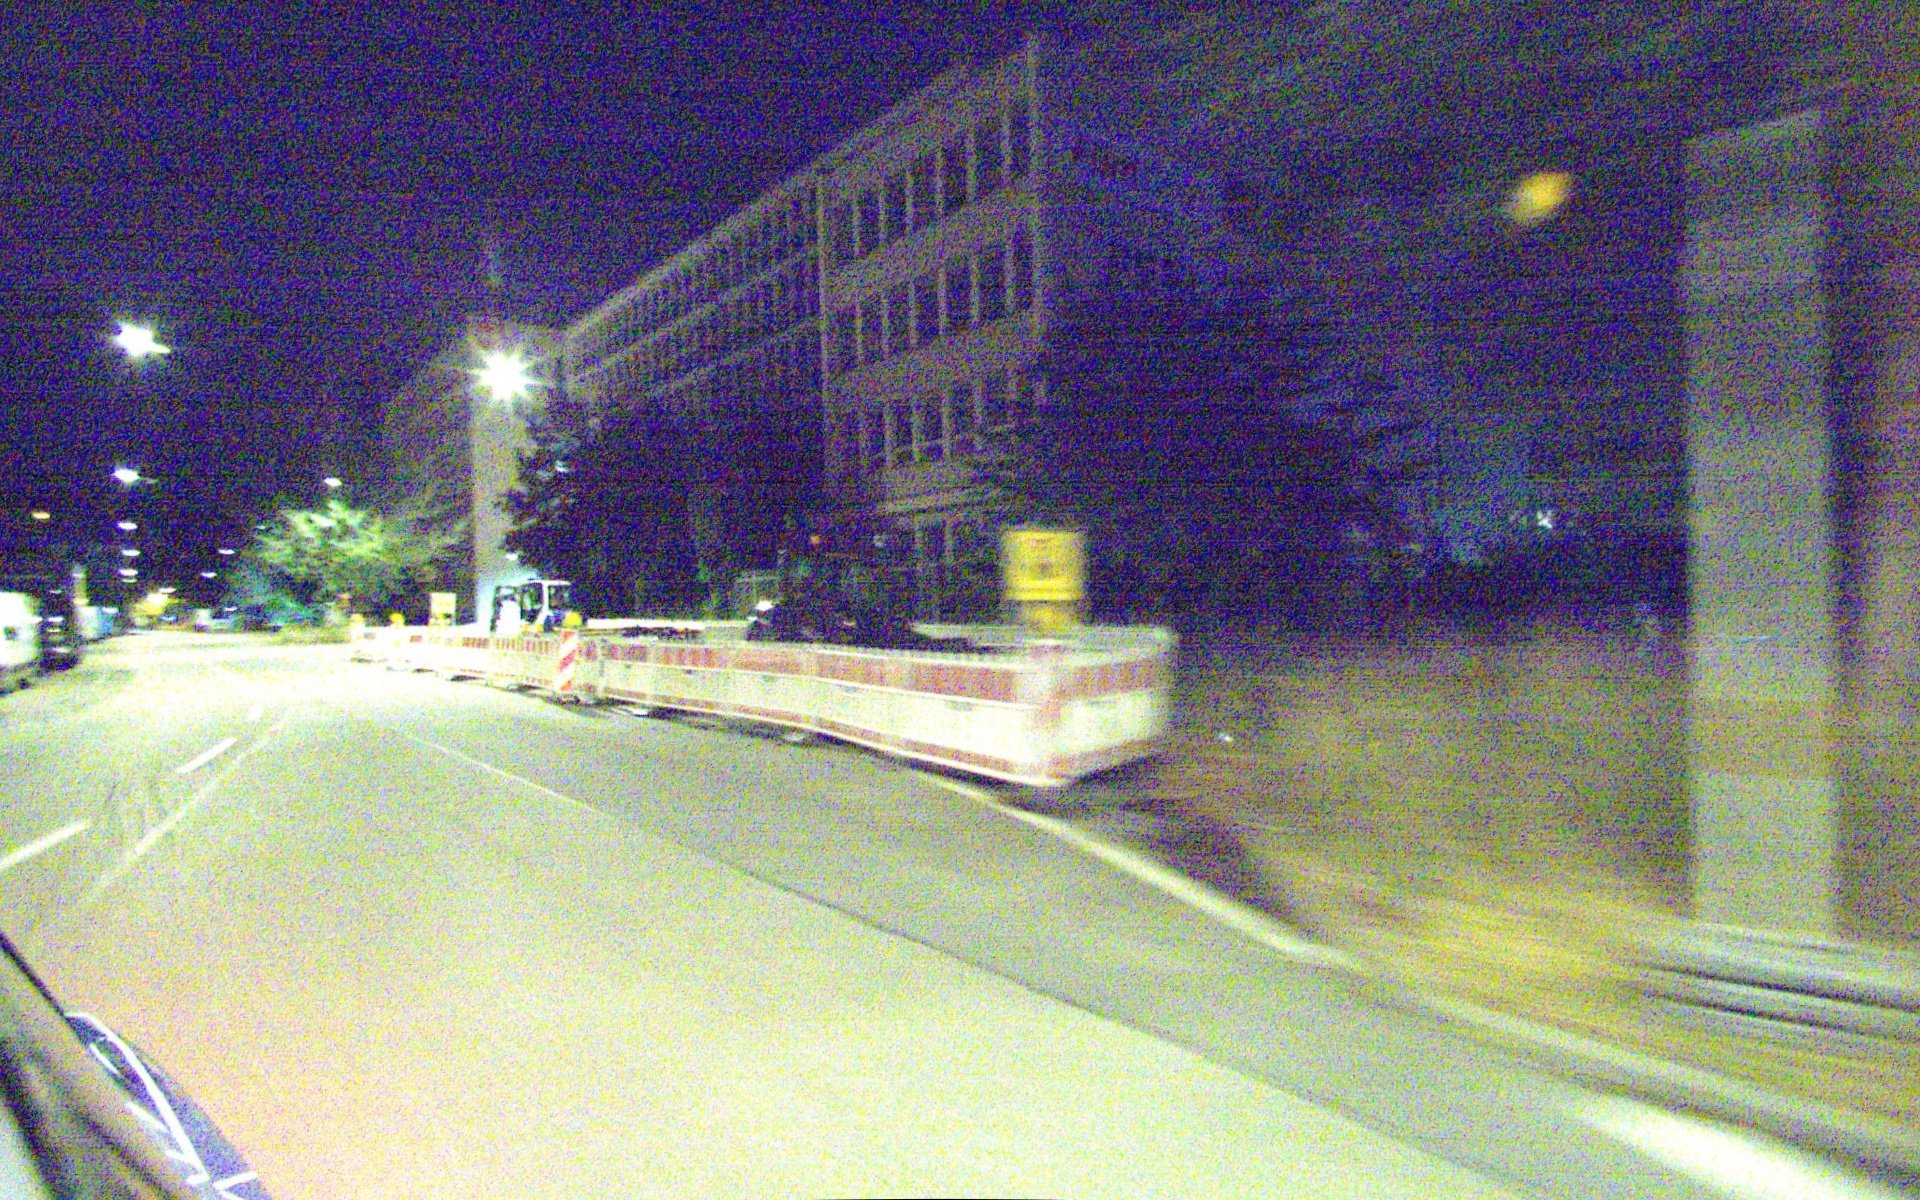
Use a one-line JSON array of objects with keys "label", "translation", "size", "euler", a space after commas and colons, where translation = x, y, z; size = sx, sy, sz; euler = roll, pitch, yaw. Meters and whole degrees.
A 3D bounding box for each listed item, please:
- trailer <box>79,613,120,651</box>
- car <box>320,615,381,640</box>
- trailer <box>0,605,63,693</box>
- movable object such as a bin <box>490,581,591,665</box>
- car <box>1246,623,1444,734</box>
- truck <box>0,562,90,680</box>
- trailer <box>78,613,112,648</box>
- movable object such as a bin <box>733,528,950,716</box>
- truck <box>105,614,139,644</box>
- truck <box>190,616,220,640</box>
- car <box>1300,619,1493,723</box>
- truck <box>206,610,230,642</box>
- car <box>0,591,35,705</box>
[{"label": "trailer", "translation": [-64.262, 2.363, 75.656], "size": [1.968, 2.671, 4.009], "euler": [-3, 0, -37]}, {"label": "car", "translation": [-54.971, 2.438, 91.290], "size": [4.377, 1.987, 2.003], "euler": [-3, 0, -40]}, {"label": "trailer", "translation": [-29.181, 1.500, 31.498], "size": [1.611, 2.492, 5.036], "euler": [-3, 0, -39]}, {"label": "movable object such as a bin", "translation": [-13.133, 0.710, 31.658], "size": [2.828, 2.486, 1.537], "euler": [-1, -1, 30]}, {"label": "car", "translation": [10.101, 1.976, 26.878], "size": [1.967, 2.573, 4.494], "euler": [-3, 0, -35]}, {"label": "truck", "translation": [-34.621, 0.771, 37.519], "size": [3.282, 3.897, 9.344], "euler": [-3, 1, -40]}, {"label": "trailer", "translation": [-87.521, 3.112, 102.411], "size": [2.369, 3.350, 4.367], "euler": [-3, 0, -42]}, {"label": "movable object such as a bin", "translation": [-2.026, 0.401, 16.629], "size": [3.702, 2.755, 1.553], "euler": [-3, -4, 44]}, {"label": "truck", "translation": [-116.529, 4.019, 140.877], "size": [2.476, 3.866, 12.689], "euler": [-3, 0, -35]}, {"label": "truck", "translation": [-123.916, 4.699, 166.054], "size": [2.788, 3.659, 10.411], "euler": [-3, 0, -43]}, {"label": "car", "translation": [12.095, 1.878, 28.331], "size": [1.967, 2.573, 4.494], "euler": [-3, 0, -35]}, {"label": "truck", "translation": [-106.111, 3.608, 144.604], "size": [2.603, 4.347, 12.851], "euler": [1, -1, -37]}, {"label": "car", "translation": [-23.557, 1.150, 23.706], "size": [2.081, 2.535, 6.385], "euler": [-3, 0, -37]}]
